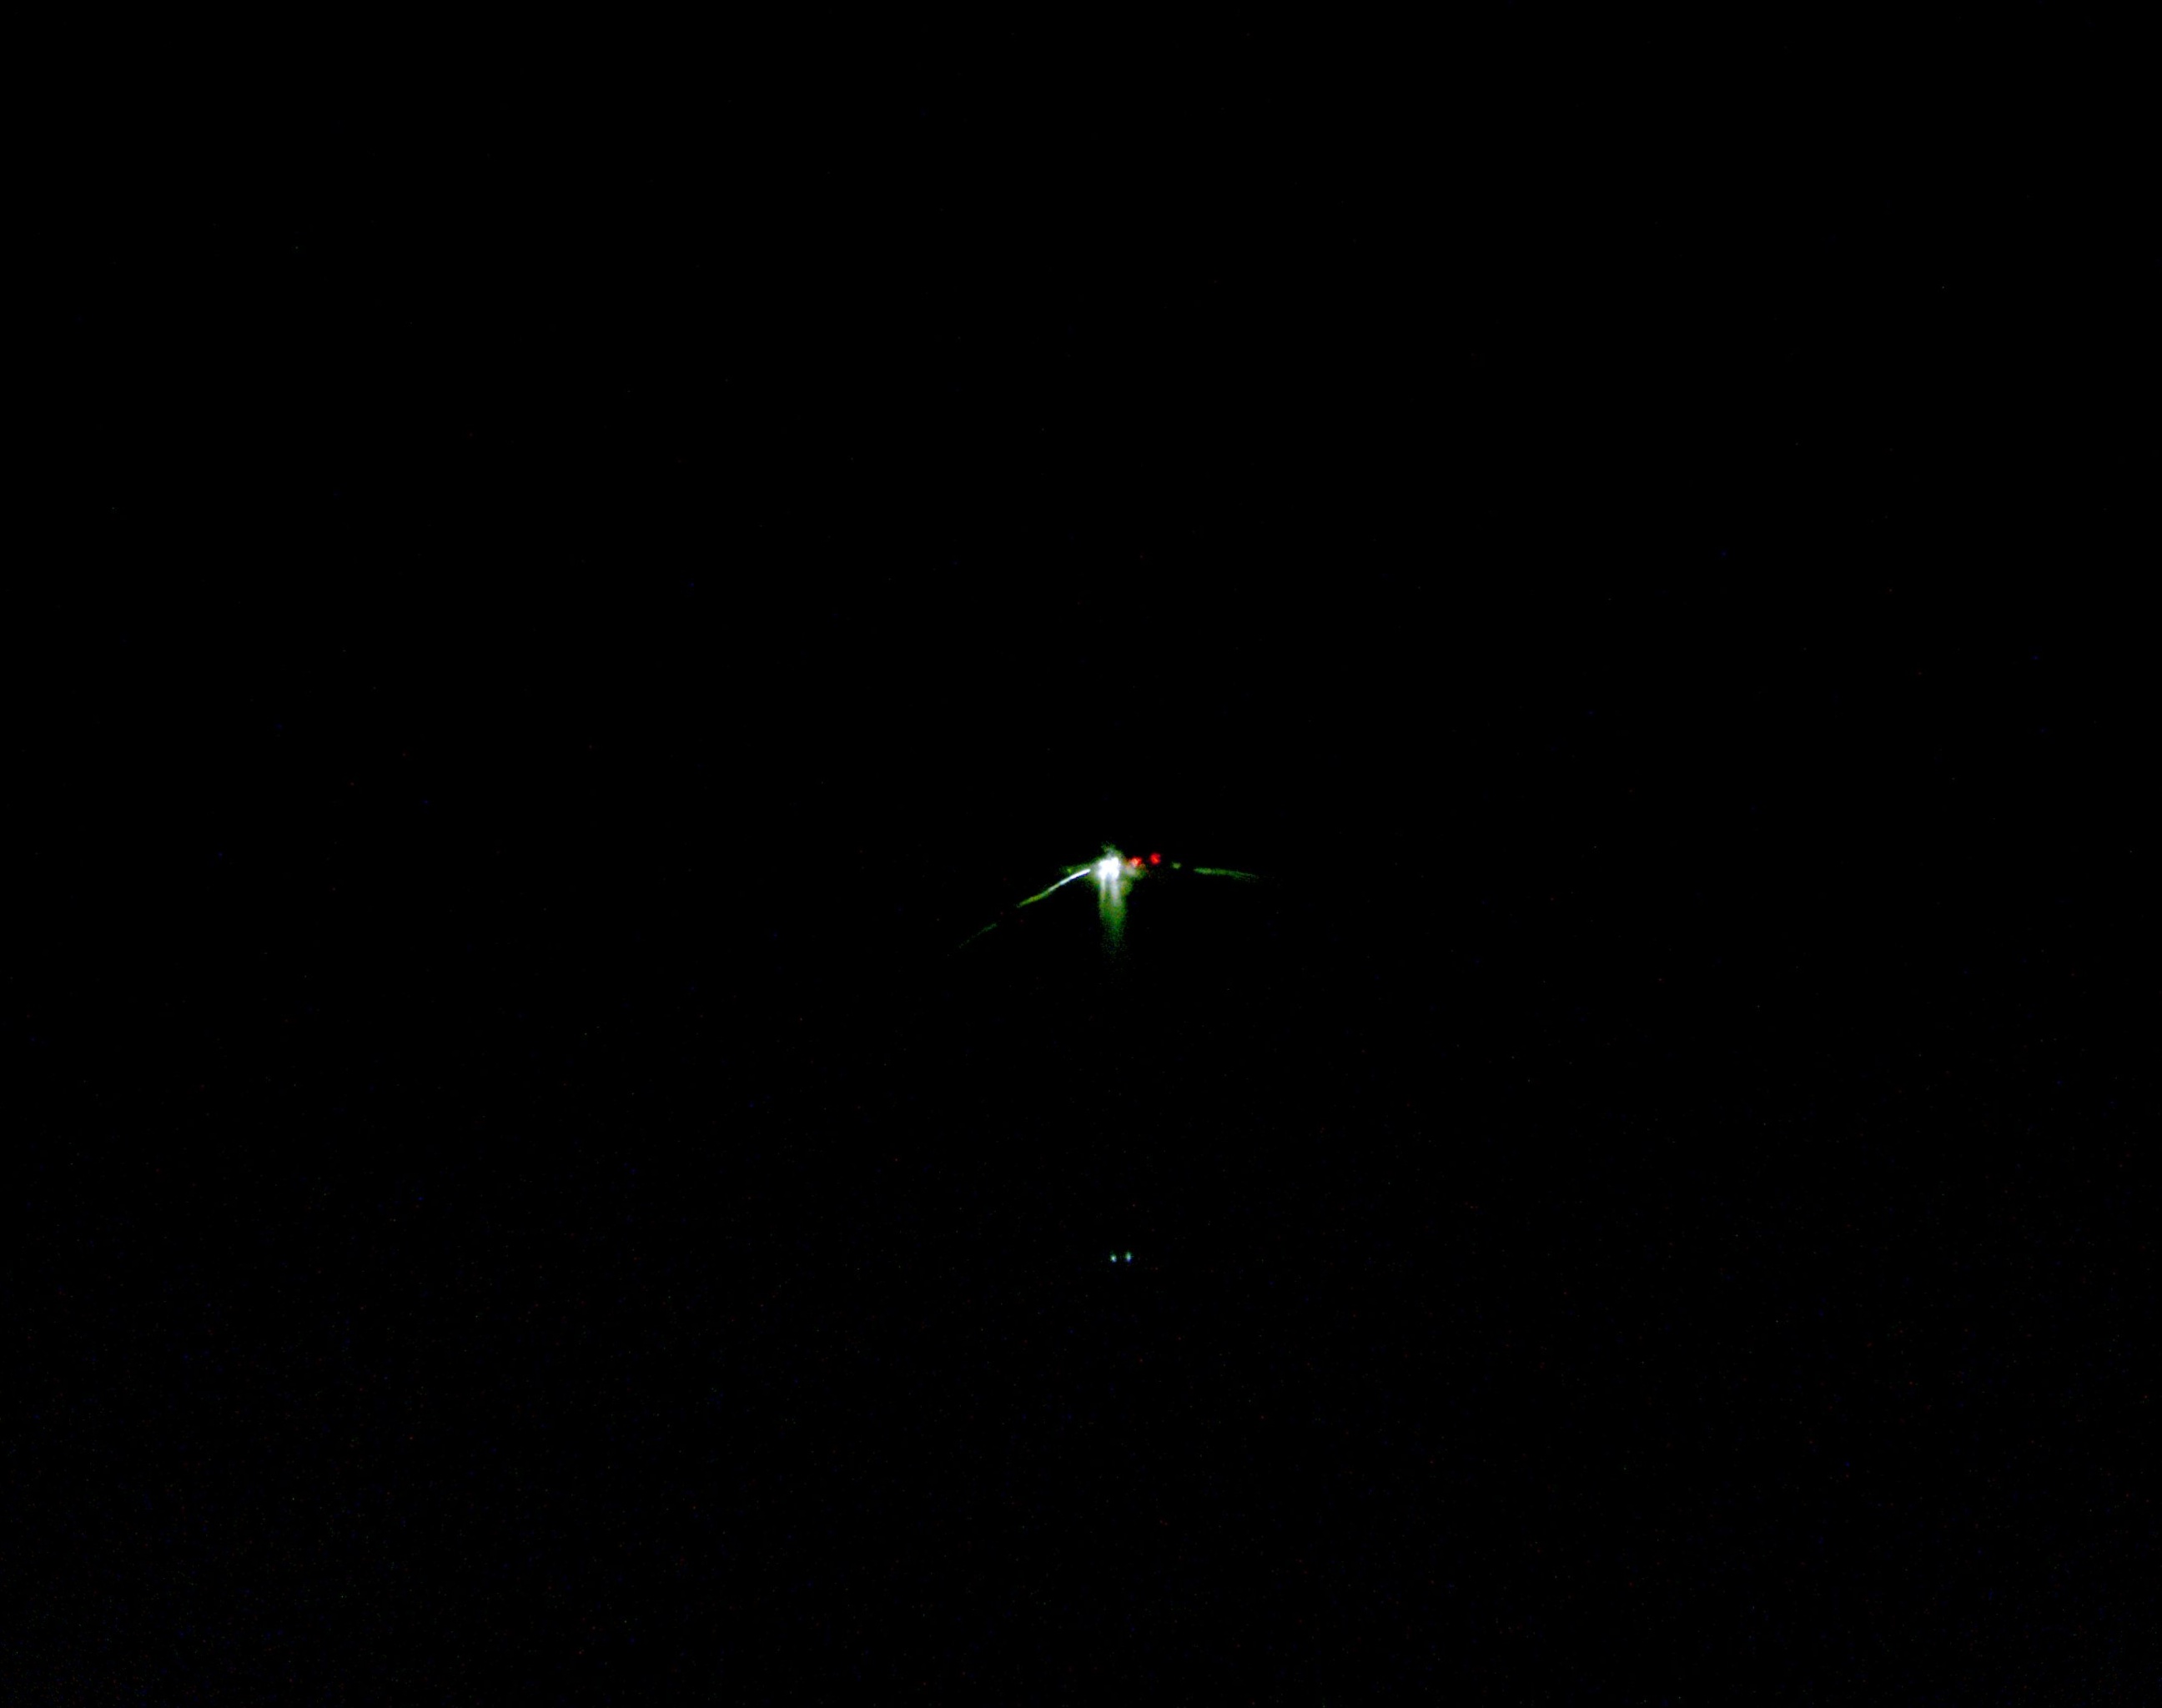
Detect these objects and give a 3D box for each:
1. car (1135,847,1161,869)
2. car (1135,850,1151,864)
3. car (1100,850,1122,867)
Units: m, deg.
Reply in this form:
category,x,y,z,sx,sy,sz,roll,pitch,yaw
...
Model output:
category,x,y,z,sx,sy,sz,roll,pitch,yaw
car,5.832,0.323,66.699,1.998,1.812,4.000,-2,1,2
car,7.710,0.319,94.673,1.775,1.665,4.055,-2,1,4
car,3.281,0.436,82.429,1.997,1.724,4.001,-1,0,6
